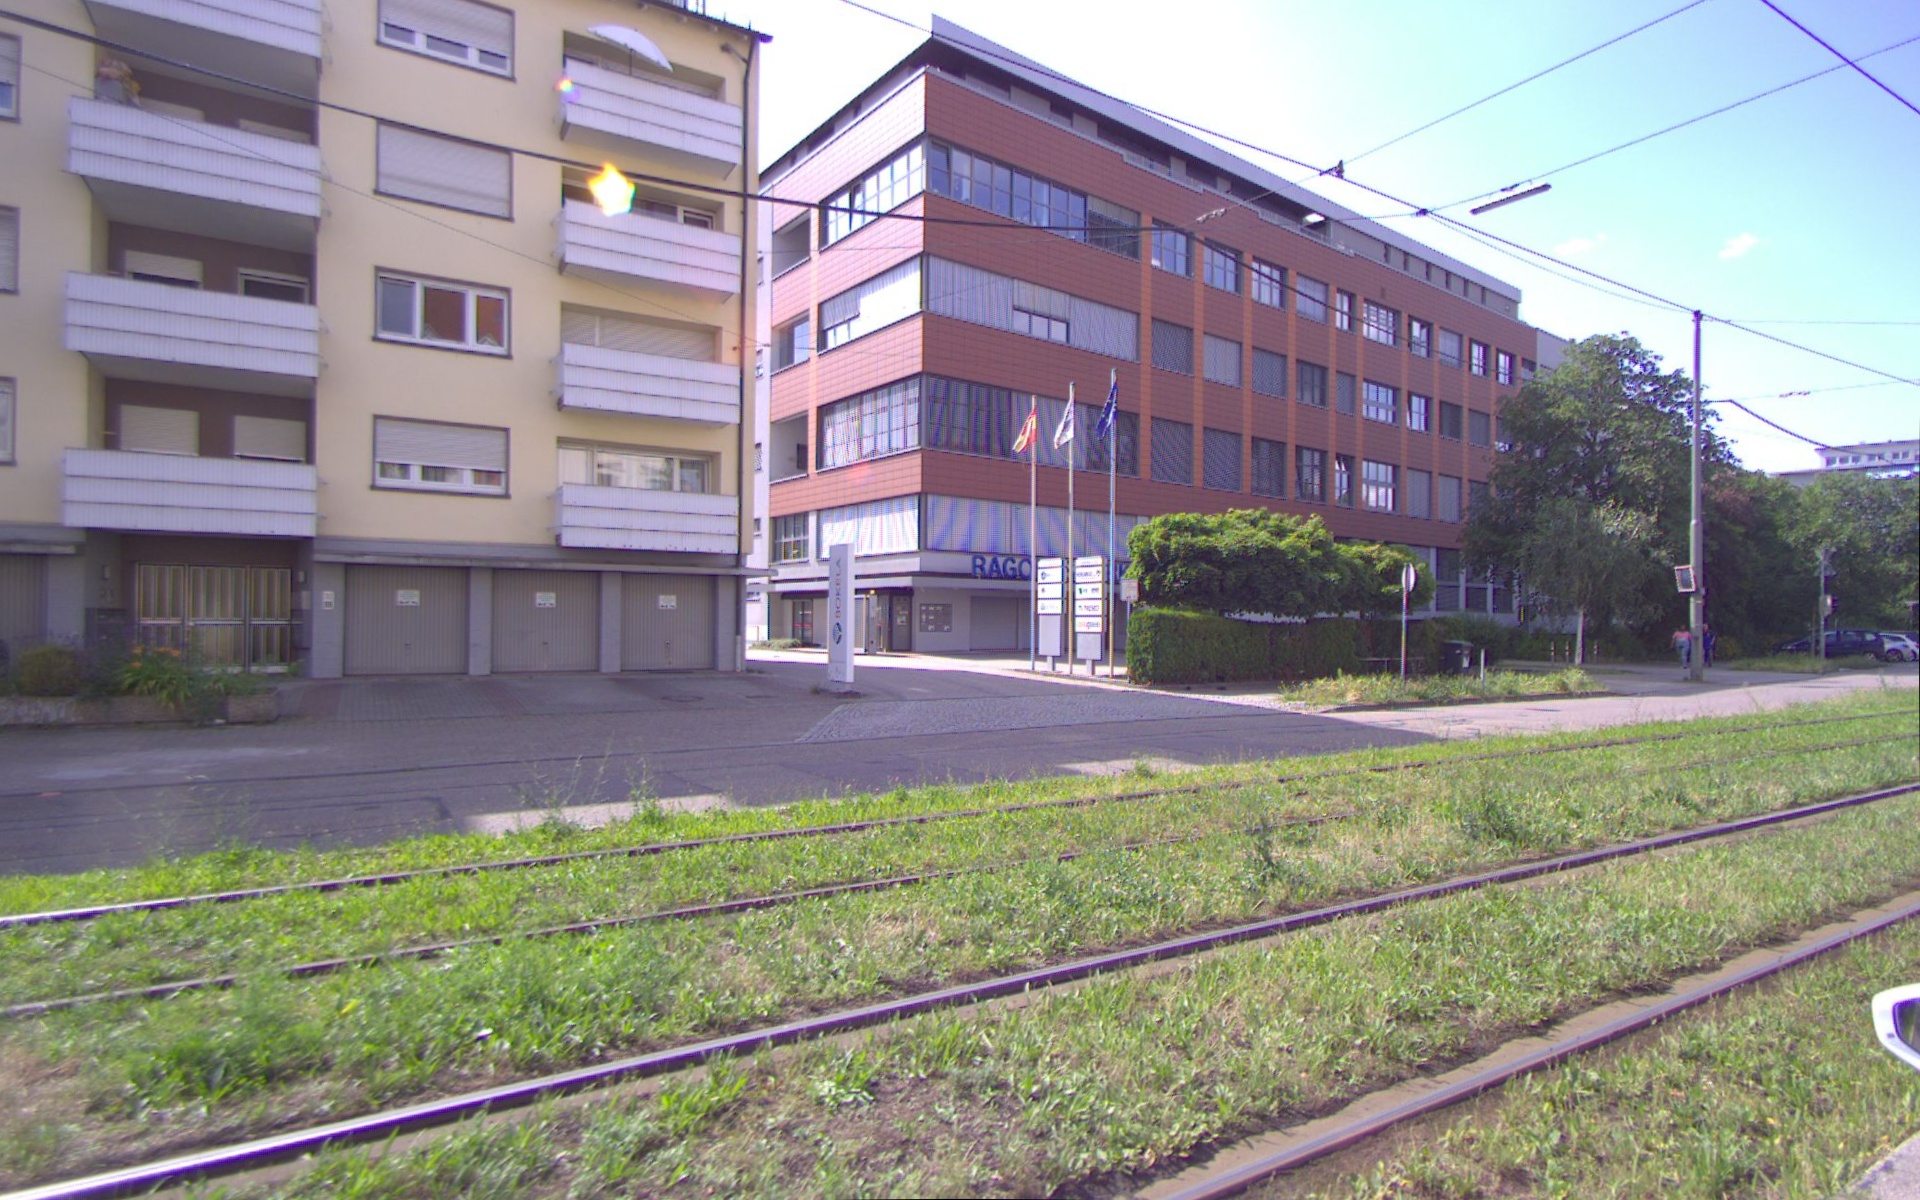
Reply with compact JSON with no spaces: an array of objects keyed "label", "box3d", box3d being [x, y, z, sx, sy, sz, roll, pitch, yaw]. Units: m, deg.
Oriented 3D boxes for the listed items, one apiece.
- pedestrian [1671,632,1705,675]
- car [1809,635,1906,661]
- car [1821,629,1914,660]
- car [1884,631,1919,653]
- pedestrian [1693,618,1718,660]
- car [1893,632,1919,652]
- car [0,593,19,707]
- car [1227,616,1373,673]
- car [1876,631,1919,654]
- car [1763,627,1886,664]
[{"label":"pedestrian","box3d":[27.765,2.037,38.320,0.878,1.594,0.742,3,-2,-28]},{"label":"car","box3d":[45.323,2.417,50.798,3.320,1.252,1.545,0,-1,14]},{"label":"car","box3d":[47.822,2.331,52.994,3.321,1.525,1.545,0,-1,16]},{"label":"car","box3d":[59.235,2.606,61.869,3.181,1.326,1.457,0,-1,8]},{"label":"pedestrian","box3d":[29.556,1.540,39.810,0.737,1.679,0.554,1,-1,-28]},{"label":"car","box3d":[63.345,2.760,65.695,3.181,1.326,1.457,0,-1,8]},{"label":"car","box3d":[-13.967,0.727,12.839,1.950,1.623,3.967,1,1,-30]},{"label":"car","box3d":[10.516,1.332,31.284,1.979,1.617,3.963,1,-1,-33]},{"label":"car","box3d":[57.045,2.552,59.993,3.181,1.326,1.457,0,-1,5]},{"label":"car","box3d":[40.770,2.123,47.483,4.049,1.662,1.727,0,-1,14]}]
